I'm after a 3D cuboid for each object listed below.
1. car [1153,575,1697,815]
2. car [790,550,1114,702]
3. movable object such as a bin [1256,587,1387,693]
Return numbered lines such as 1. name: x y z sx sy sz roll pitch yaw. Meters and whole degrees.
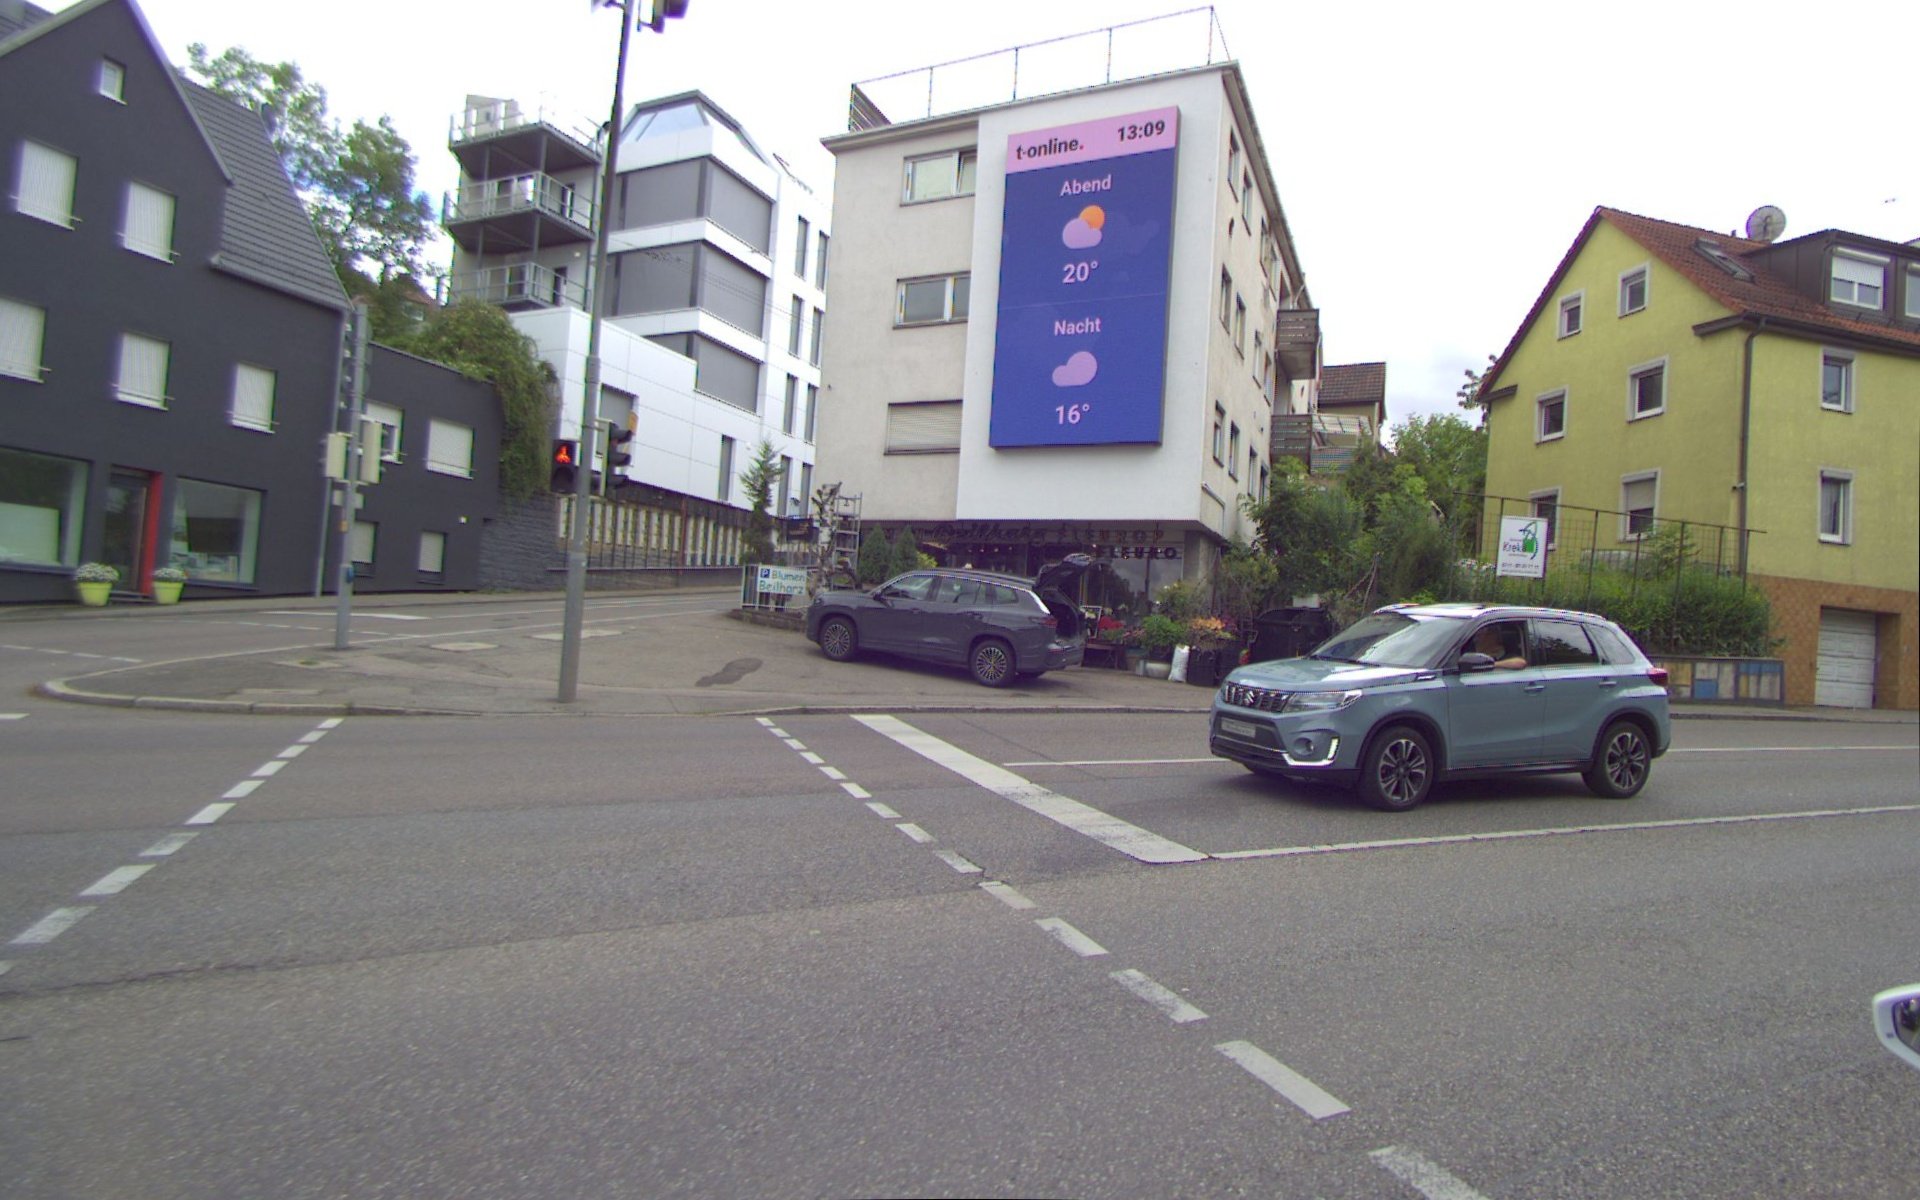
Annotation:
1. car: 4.064 0.736 8.849 4.283 1.718 1.893 2 0 -21
2. car: -0.134 0.286 16.330 4.616 1.736 2.315 7 5 26
3. movable object such as a bin: 6.757 0.710 18.726 1.741 1.803 1.847 2 0 39
